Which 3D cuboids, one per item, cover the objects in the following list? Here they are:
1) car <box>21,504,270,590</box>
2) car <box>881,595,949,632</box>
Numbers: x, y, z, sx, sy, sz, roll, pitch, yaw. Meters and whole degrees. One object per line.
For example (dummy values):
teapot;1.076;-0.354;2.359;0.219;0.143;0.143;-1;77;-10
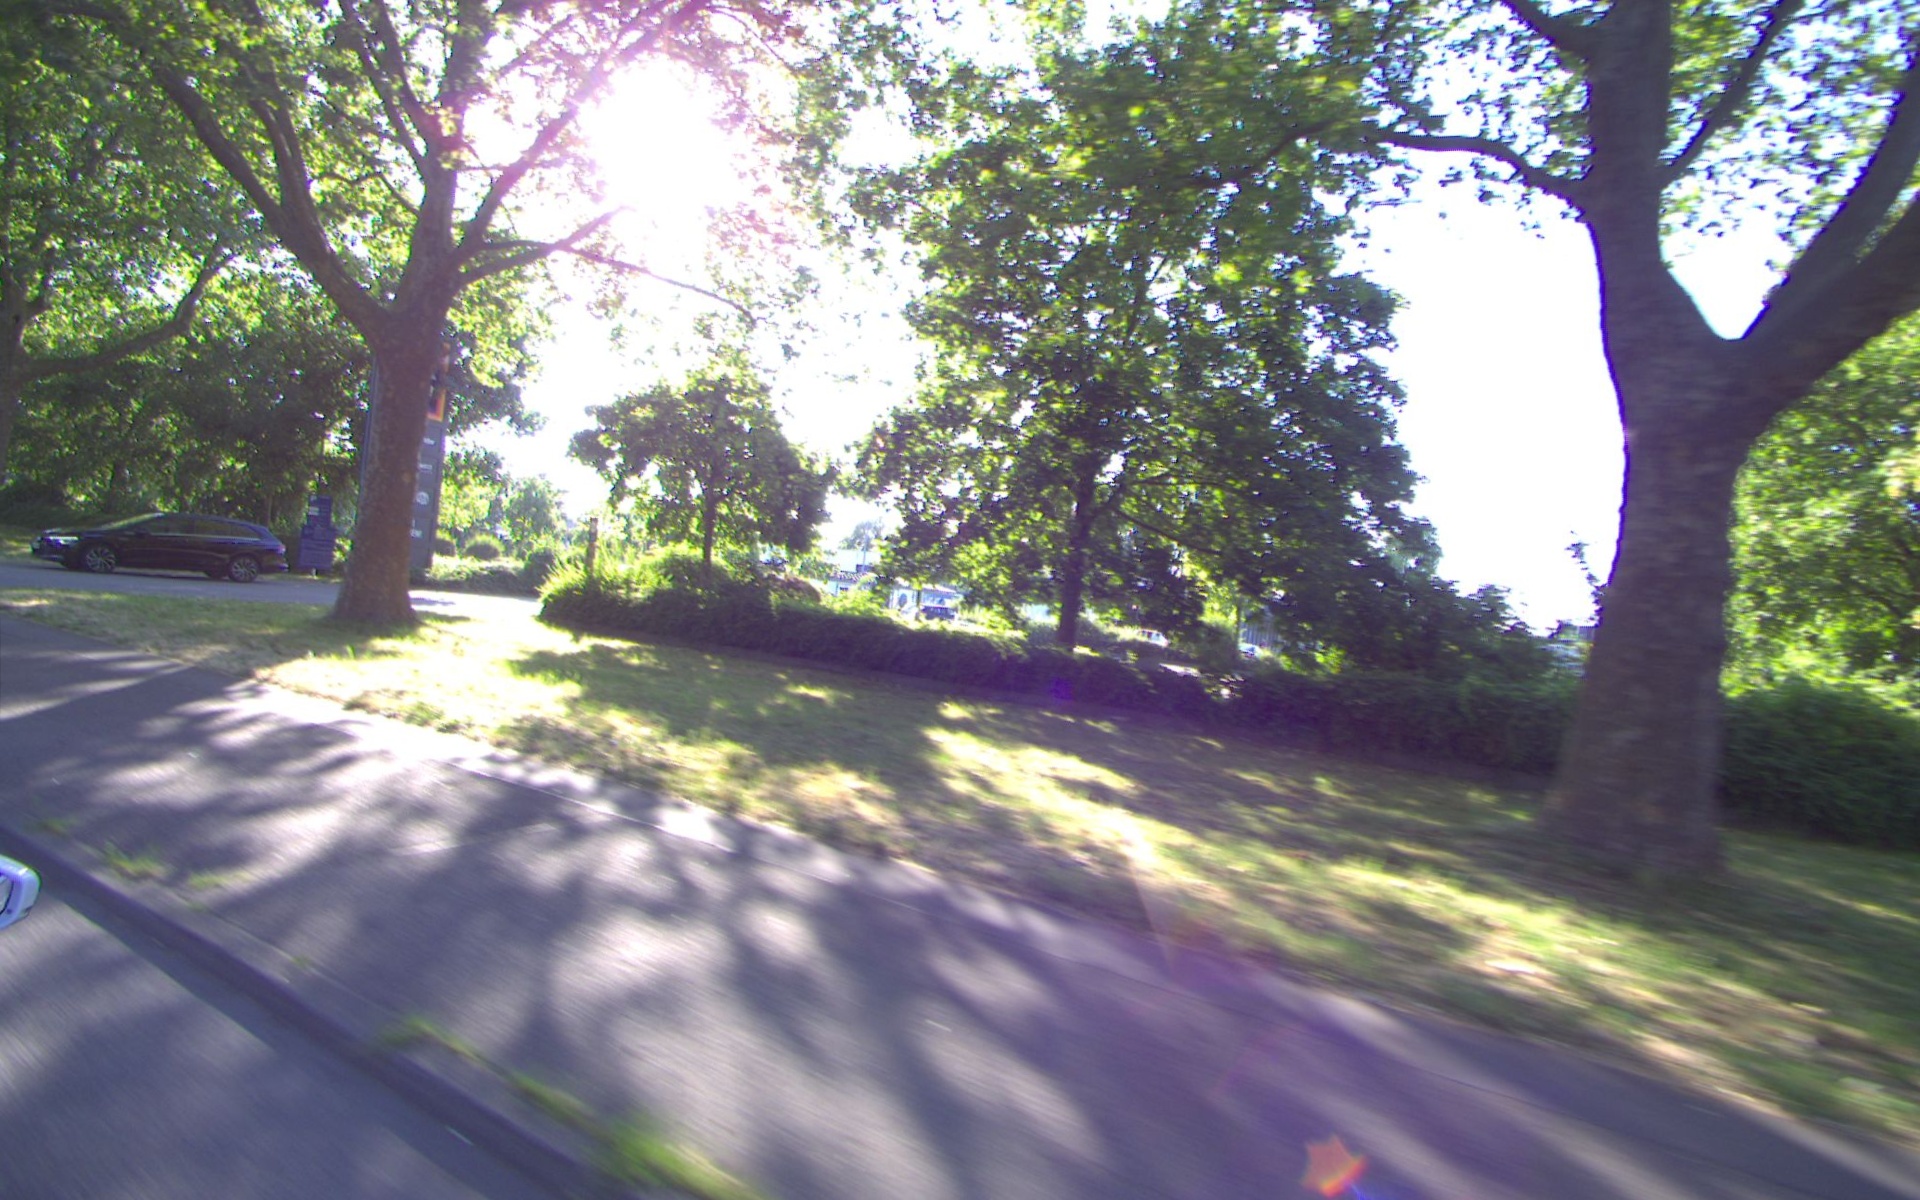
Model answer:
car;-18.216;-1.141;22.670;1.732;1.462;3.986;8;2;34
car;-2.512;0.741;55.923;3.552;1.560;1.840;7;2;-4
